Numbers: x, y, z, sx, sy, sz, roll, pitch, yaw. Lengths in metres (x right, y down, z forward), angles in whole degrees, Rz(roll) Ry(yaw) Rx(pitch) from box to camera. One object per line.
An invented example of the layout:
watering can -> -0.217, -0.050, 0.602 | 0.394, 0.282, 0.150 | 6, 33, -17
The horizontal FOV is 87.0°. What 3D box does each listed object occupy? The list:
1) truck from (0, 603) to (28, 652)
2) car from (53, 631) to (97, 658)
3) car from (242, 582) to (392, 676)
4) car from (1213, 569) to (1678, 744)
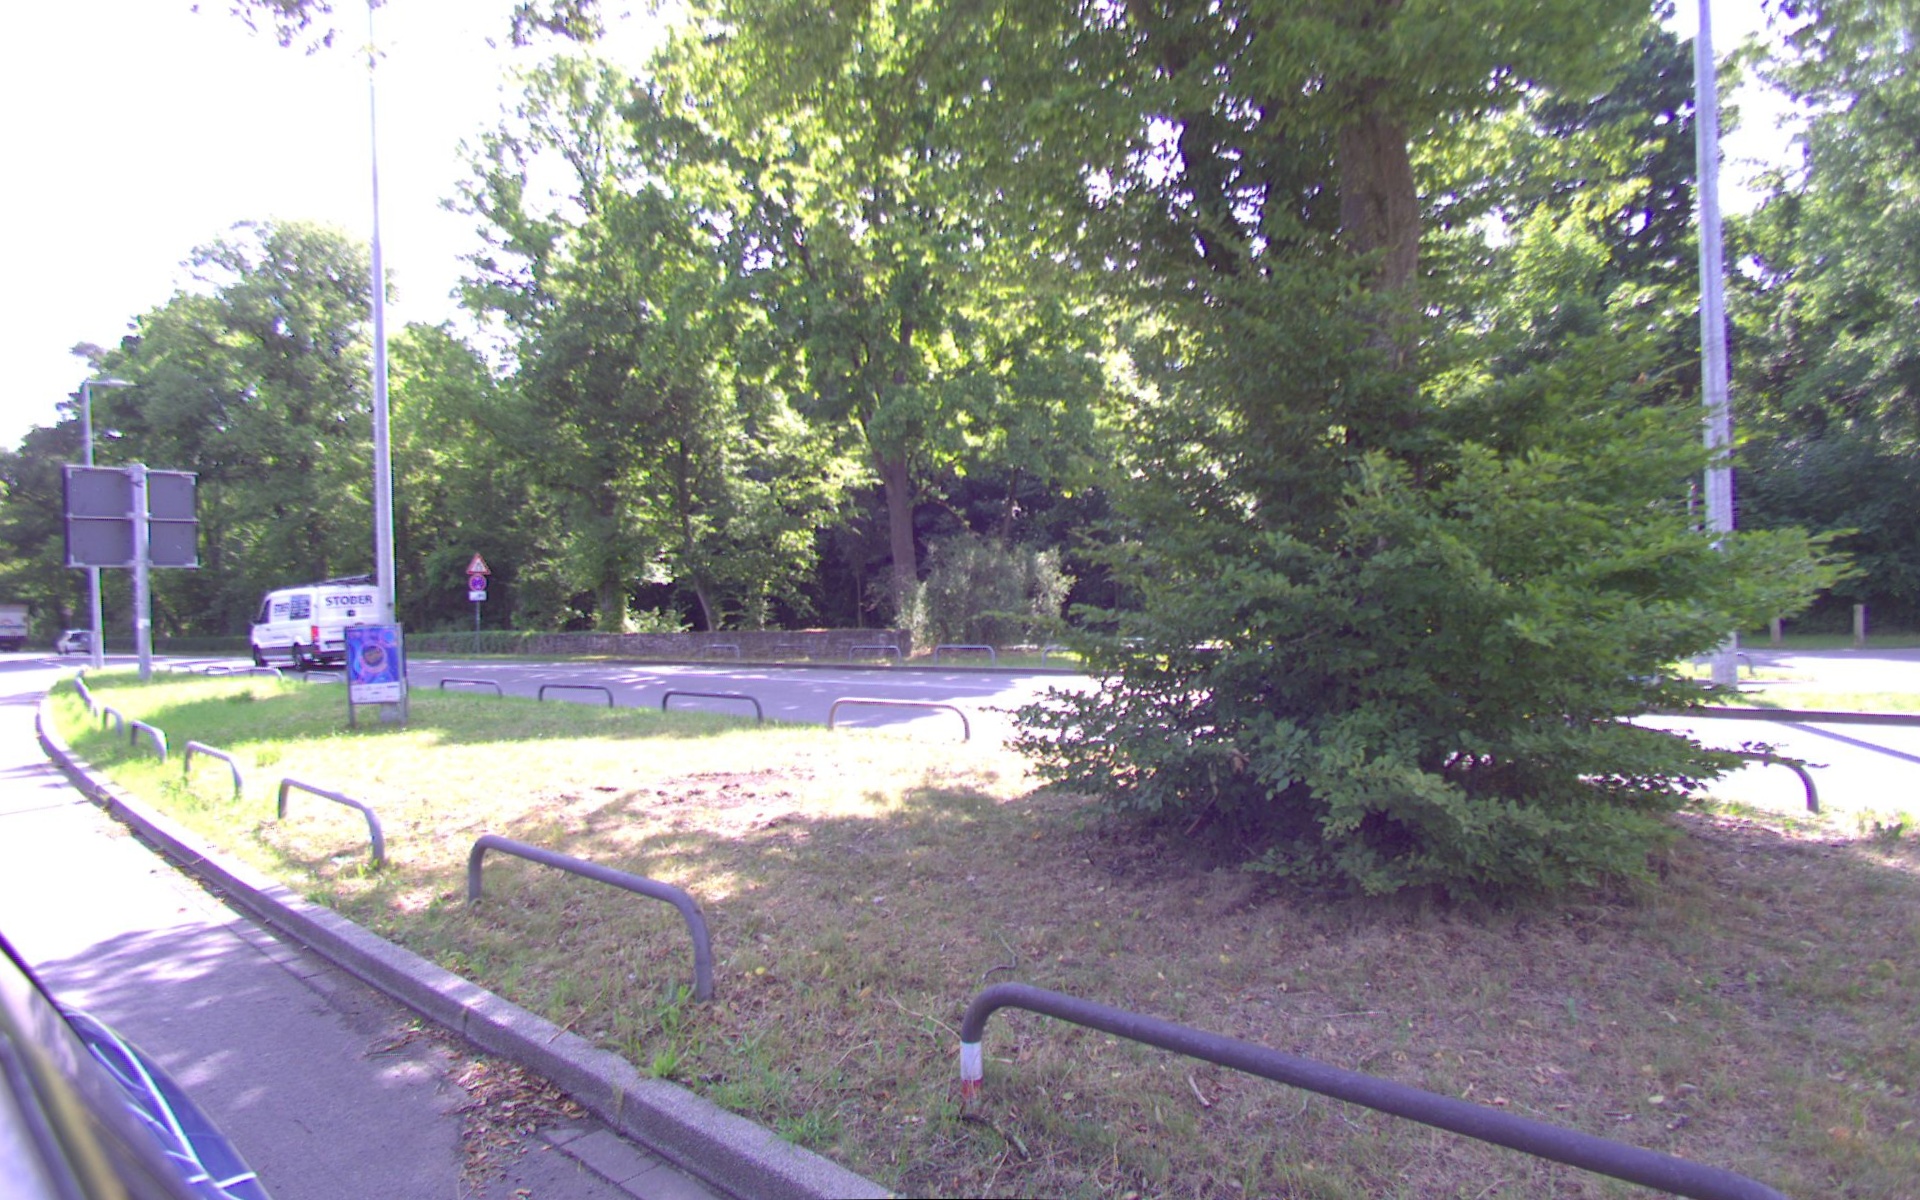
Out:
truck -> -73.942, 2.077, 77.642 | 7.002, 3.657, 2.877 | -1, 0, 41
car -> -53.964, 2.708, 61.688 | 3.872, 1.481, 1.633 | -1, 0, 43
car -> -18.759, 0.793, 29.434 | 5.356, 2.449, 1.956 | -1, 1, 38
car -> 4.915, 0.485, 10.600 | 4.067, 1.457, 1.676 | -1, 2, 43
